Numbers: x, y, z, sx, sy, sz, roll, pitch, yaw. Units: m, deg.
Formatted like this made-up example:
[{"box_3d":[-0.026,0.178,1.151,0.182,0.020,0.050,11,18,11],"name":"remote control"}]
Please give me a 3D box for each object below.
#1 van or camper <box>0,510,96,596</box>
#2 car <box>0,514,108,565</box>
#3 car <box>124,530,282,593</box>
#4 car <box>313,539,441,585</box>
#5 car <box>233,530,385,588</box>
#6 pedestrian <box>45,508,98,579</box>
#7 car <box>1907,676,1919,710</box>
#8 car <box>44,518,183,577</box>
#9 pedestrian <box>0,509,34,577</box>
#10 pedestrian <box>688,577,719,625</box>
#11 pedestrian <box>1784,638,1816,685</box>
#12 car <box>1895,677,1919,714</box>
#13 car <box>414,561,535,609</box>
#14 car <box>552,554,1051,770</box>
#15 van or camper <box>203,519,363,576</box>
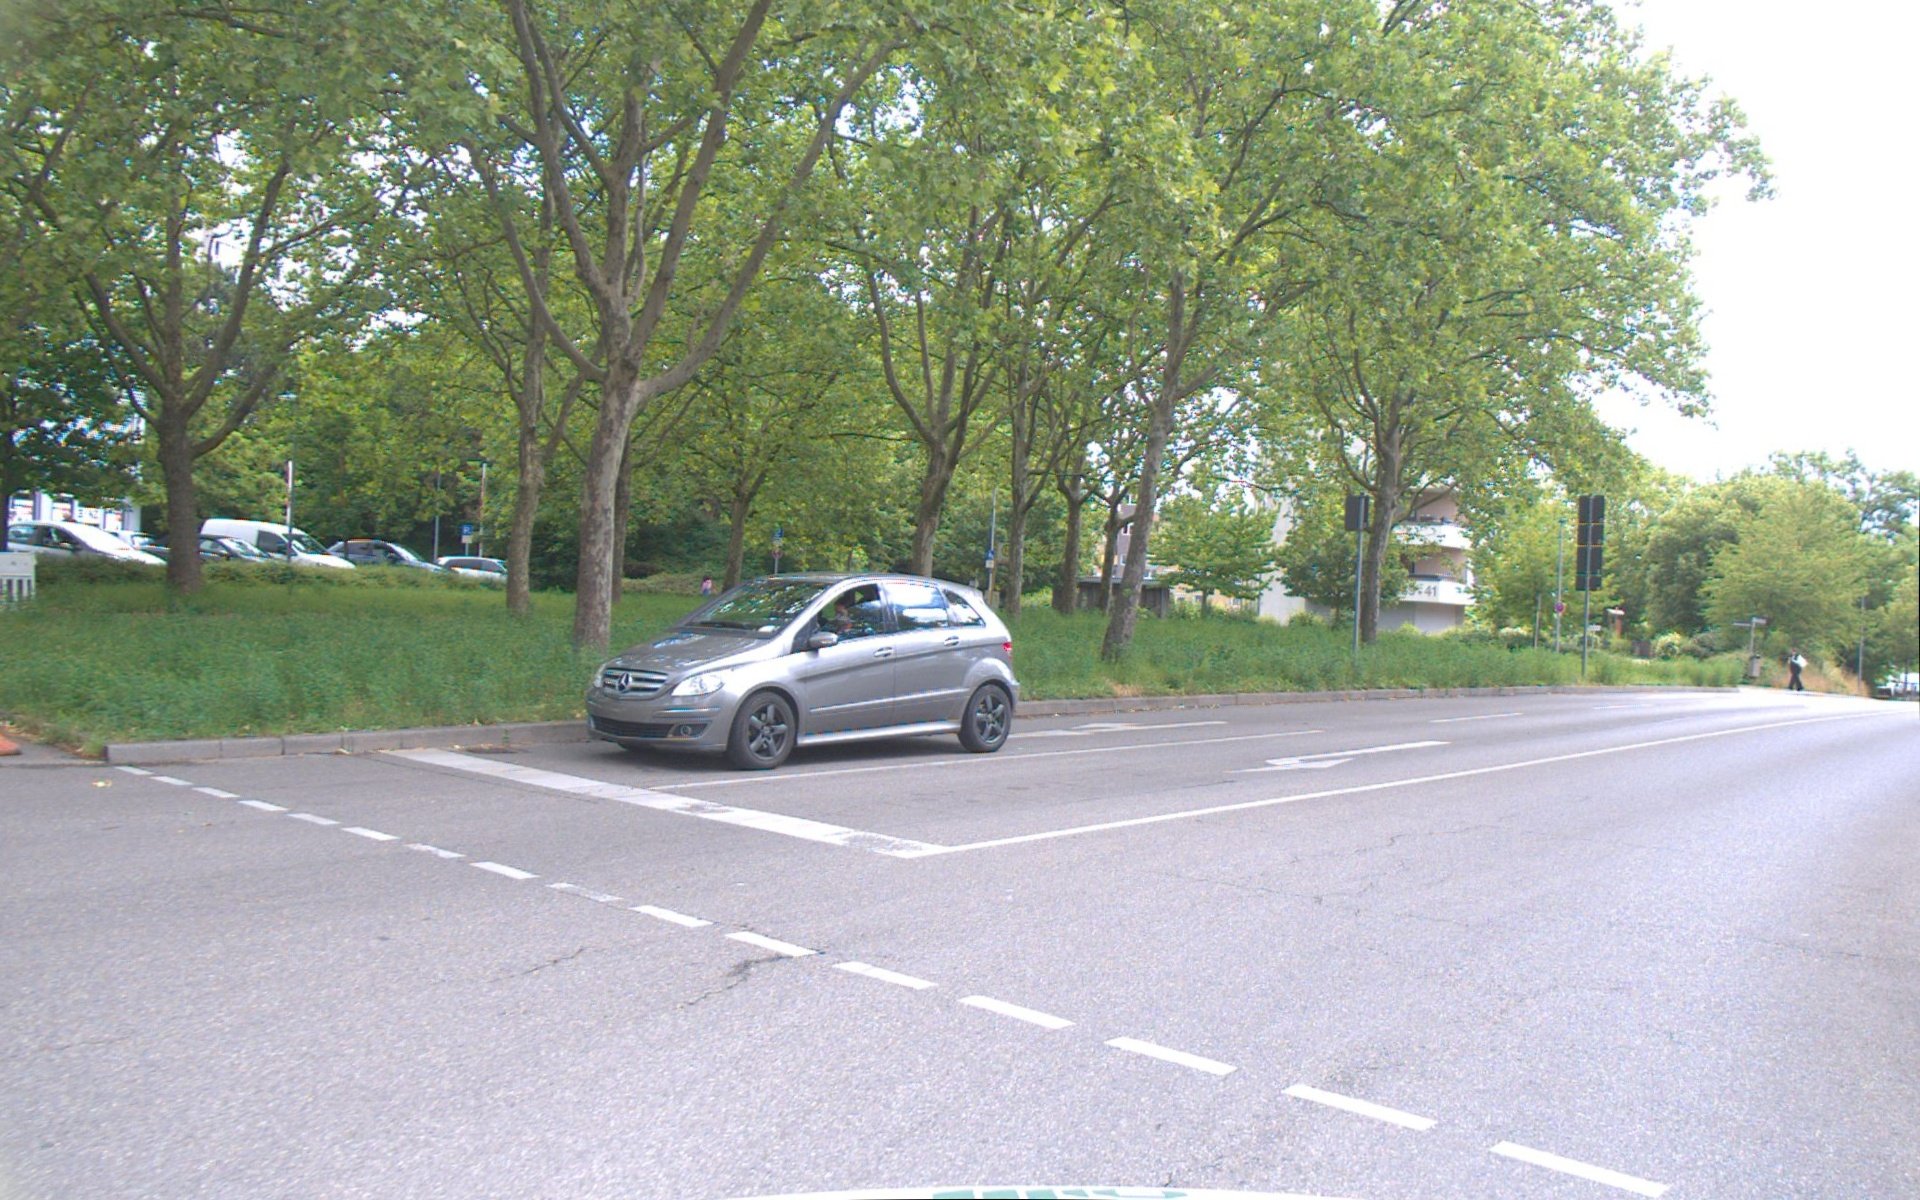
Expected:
[{"box_3d":[-20.456,-1.027,34.673,3.903,1.713,1.847,2,1,15],"name":"van or camper"},{"box_3d":[-27.856,-1.826,50.227,3.325,1.429,1.486,2,0,12],"name":"car"},{"box_3d":[-18.704,-0.946,40.900,3.325,1.429,1.486,2,0,13],"name":"car"},{"box_3d":[-17.520,-1.140,49.749,3.169,1.277,1.696,2,0,11],"name":"car"},{"box_3d":[-18.445,-1.157,46.925,3.797,1.491,1.486,2,0,12],"name":"car"},{"box_3d":[-20.720,-1.317,38.569,0.783,1.614,0.793,1,0,34],"name":"pedestrian"},{"box_3d":[44.954,4.350,76.332,1.736,1.527,3.920,1,-2,36],"name":"car"},{"box_3d":[-27.267,-1.671,53.308,3.728,1.663,1.674,3,0,12],"name":"car"},{"box_3d":[-27.480,-1.636,47.573,1.038,1.904,1.072,1,0,34],"name":"pedestrian"},{"box_3d":[-11.064,0.039,71.415,0.962,1.984,1.085,3,-1,7],"name":"pedestrian"},{"box_3d":[32.285,2.368,63.561,0.803,1.753,0.777,2,0,3],"name":"pedestrian"},{"box_3d":[42.137,4.193,72.362,1.736,1.527,3.920,1,-1,36],"name":"car"},{"box_3d":[-16.919,-0.518,57.644,3.654,1.526,1.735,2,0,16],"name":"car"},{"box_3d":[-1.240,0.492,14.622,1.741,1.614,4.386,1,0,41],"name":"car"},{"box_3d":[-18.058,-1.401,44.160,3.683,1.380,1.519,2,0,10],"name":"van or camper"}]
